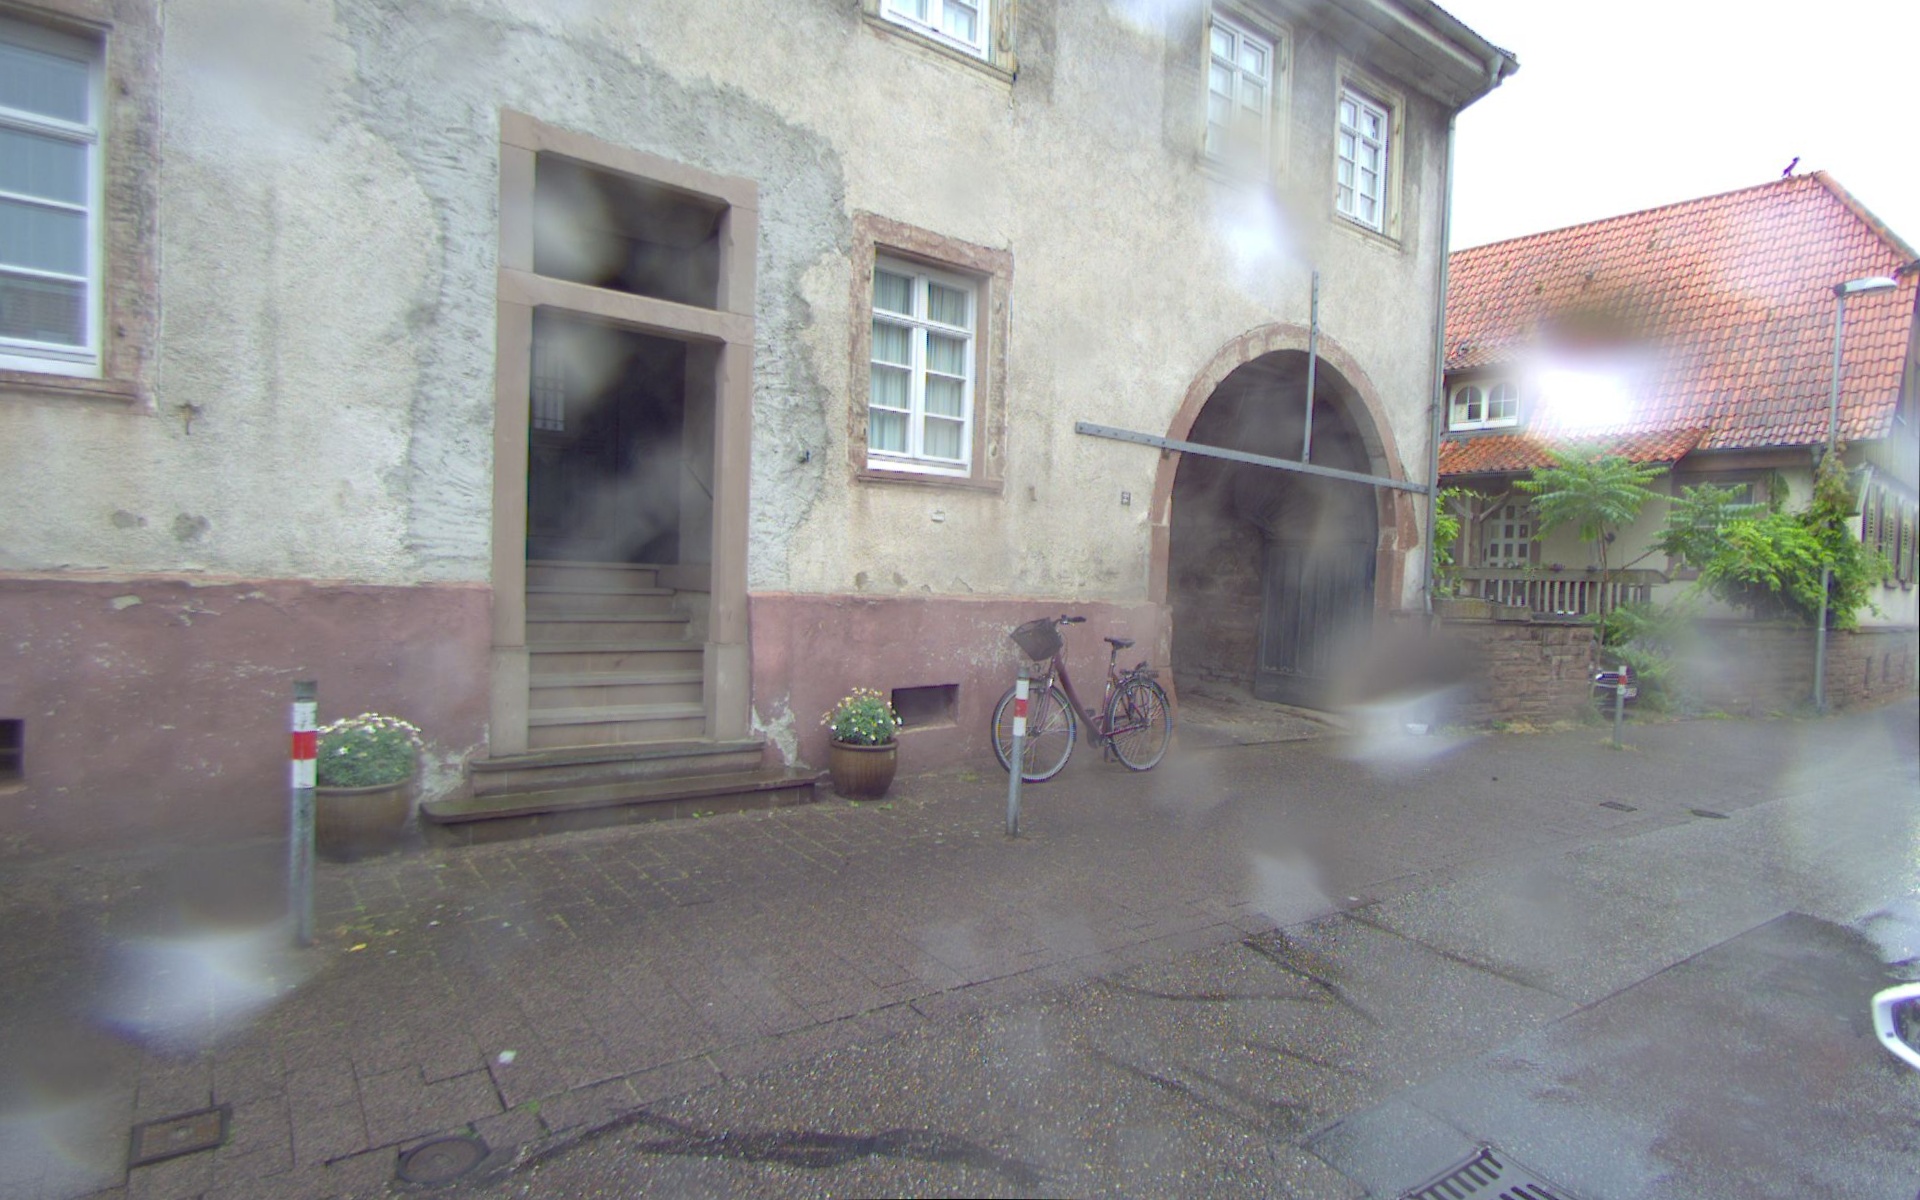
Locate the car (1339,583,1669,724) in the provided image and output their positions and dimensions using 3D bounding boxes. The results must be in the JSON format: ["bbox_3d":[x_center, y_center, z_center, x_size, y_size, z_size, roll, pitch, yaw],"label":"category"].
[{"bbox_3d":[7.992,0.700,15.158,1.715,1.444,3.967,2,5,-30],"label":"car"}]

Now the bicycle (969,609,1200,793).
[{"bbox_3d":[0.963,0.686,7.449,1.858,1.194,0.478,1,4,-38],"label":"bicycle"}]

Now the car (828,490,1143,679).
[{"bbox_3d":[0.163,-0.307,13.523,1.869,1.957,4.194,6,3,-37],"label":"car"}]
